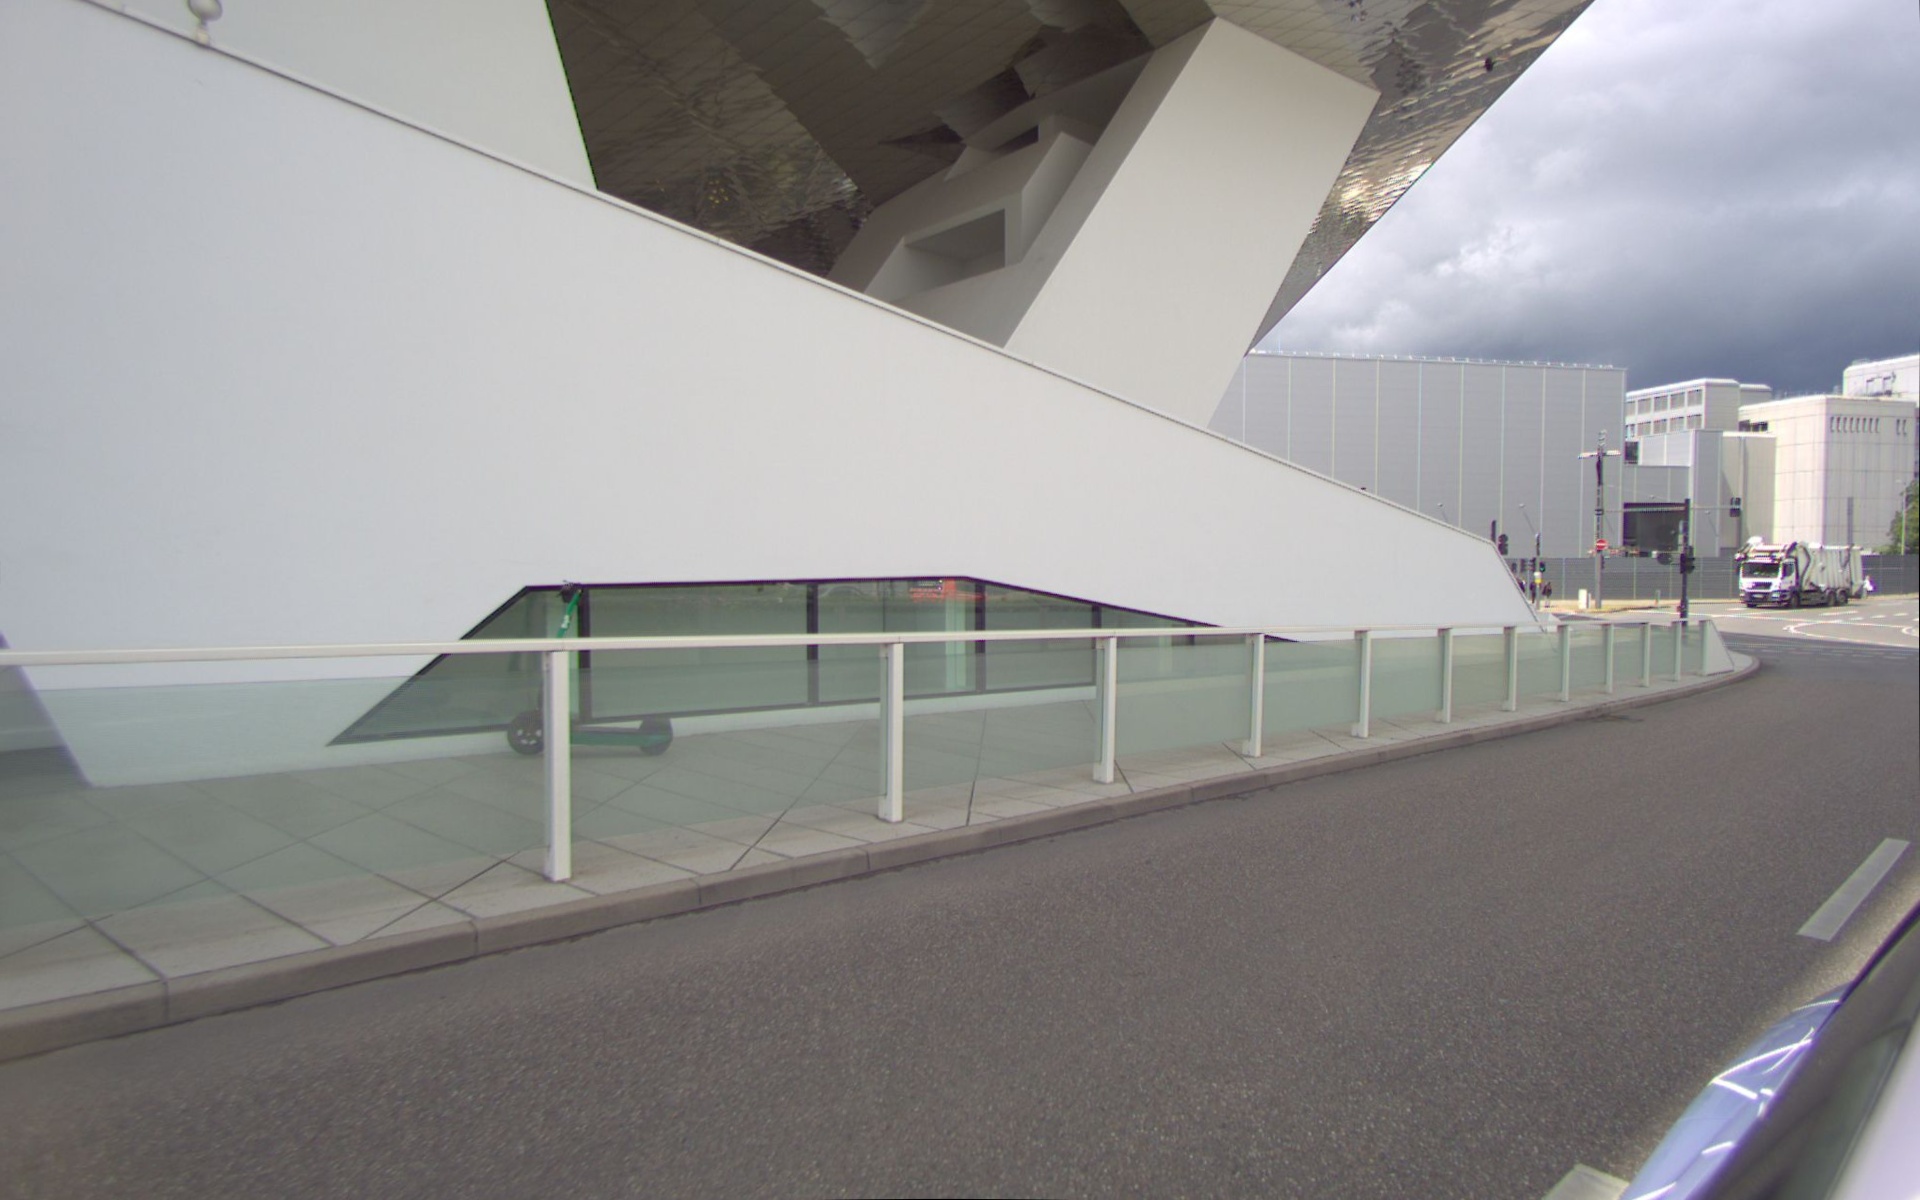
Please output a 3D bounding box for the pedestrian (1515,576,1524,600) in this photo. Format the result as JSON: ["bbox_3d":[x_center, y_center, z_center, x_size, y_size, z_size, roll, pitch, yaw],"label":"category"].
[{"bbox_3d":[34.913,-0.728,63.145,0.377,1.475,0.389,1,1,12],"label":"pedestrian"}]

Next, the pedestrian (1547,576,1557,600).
[{"bbox_3d":[37.048,-0.770,63.348,0.354,1.499,0.402,1,1,11],"label":"pedestrian"}]

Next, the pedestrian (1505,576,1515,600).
[{"bbox_3d":[34.631,-0.744,63.711,0.377,1.490,0.389,1,1,12],"label":"pedestrian"}]

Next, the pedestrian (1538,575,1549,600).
[{"bbox_3d":[36.562,-0.775,63.421,0.420,1.572,0.389,1,1,12],"label":"pedestrian"}]

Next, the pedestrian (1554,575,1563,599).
[{"bbox_3d":[37.449,-0.808,63.294,0.323,1.499,0.359,1,1,9],"label":"pedestrian"}]

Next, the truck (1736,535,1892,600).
[{"bbox_3d":[52.471,-1.944,62.098,10.529,3.736,2.851,0,2,-24],"label":"truck"}]

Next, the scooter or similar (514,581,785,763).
[{"bbox_3d":[-2.394,0.489,7.963,1.919,1.258,0.707,-1,2,-42],"label":"scooter or similar"}]
